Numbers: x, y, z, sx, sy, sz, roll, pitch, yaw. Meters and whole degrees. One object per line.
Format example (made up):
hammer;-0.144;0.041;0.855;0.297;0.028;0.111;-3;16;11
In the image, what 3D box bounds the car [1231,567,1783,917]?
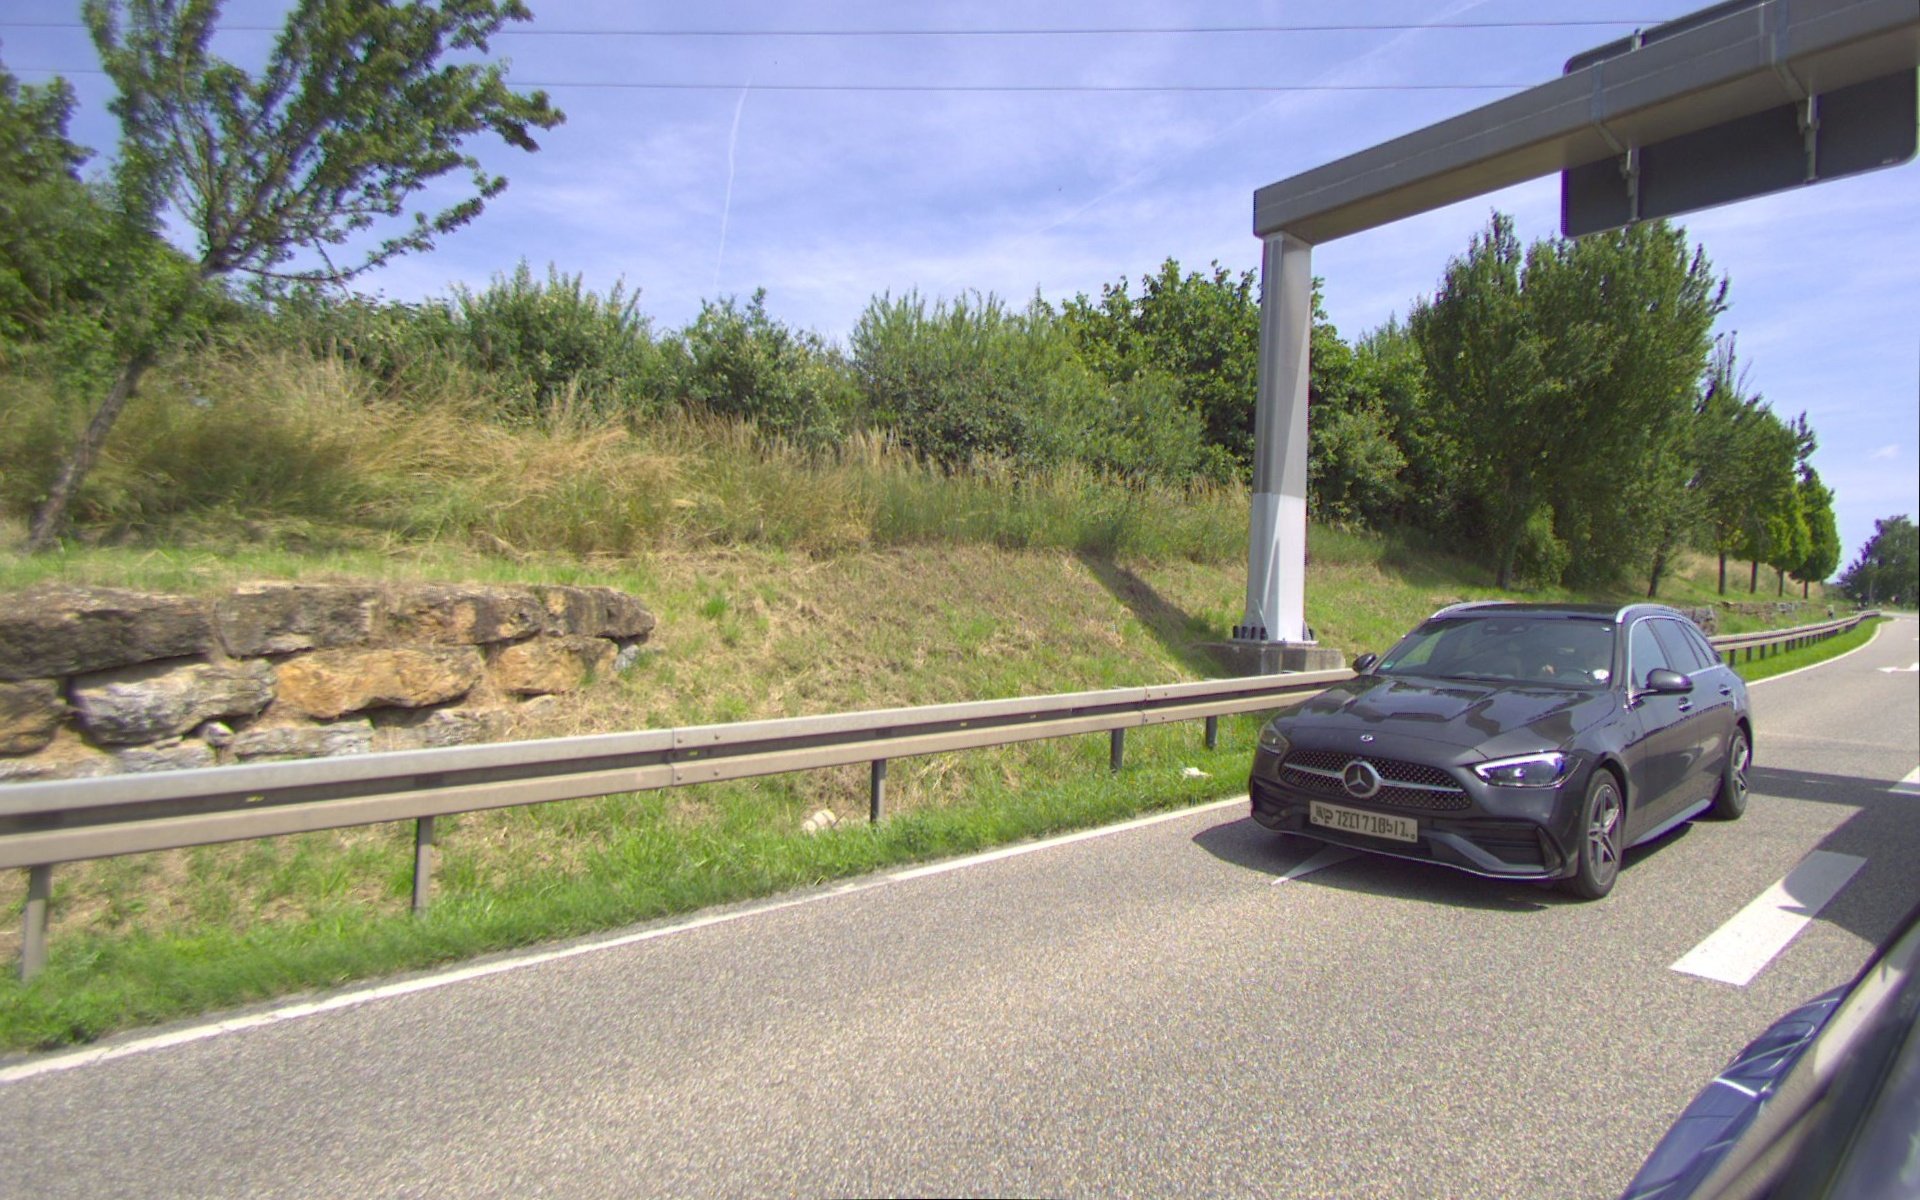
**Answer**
car;3.727;0.605;6.537;4.223;1.551;1.749;-1;0;-41
